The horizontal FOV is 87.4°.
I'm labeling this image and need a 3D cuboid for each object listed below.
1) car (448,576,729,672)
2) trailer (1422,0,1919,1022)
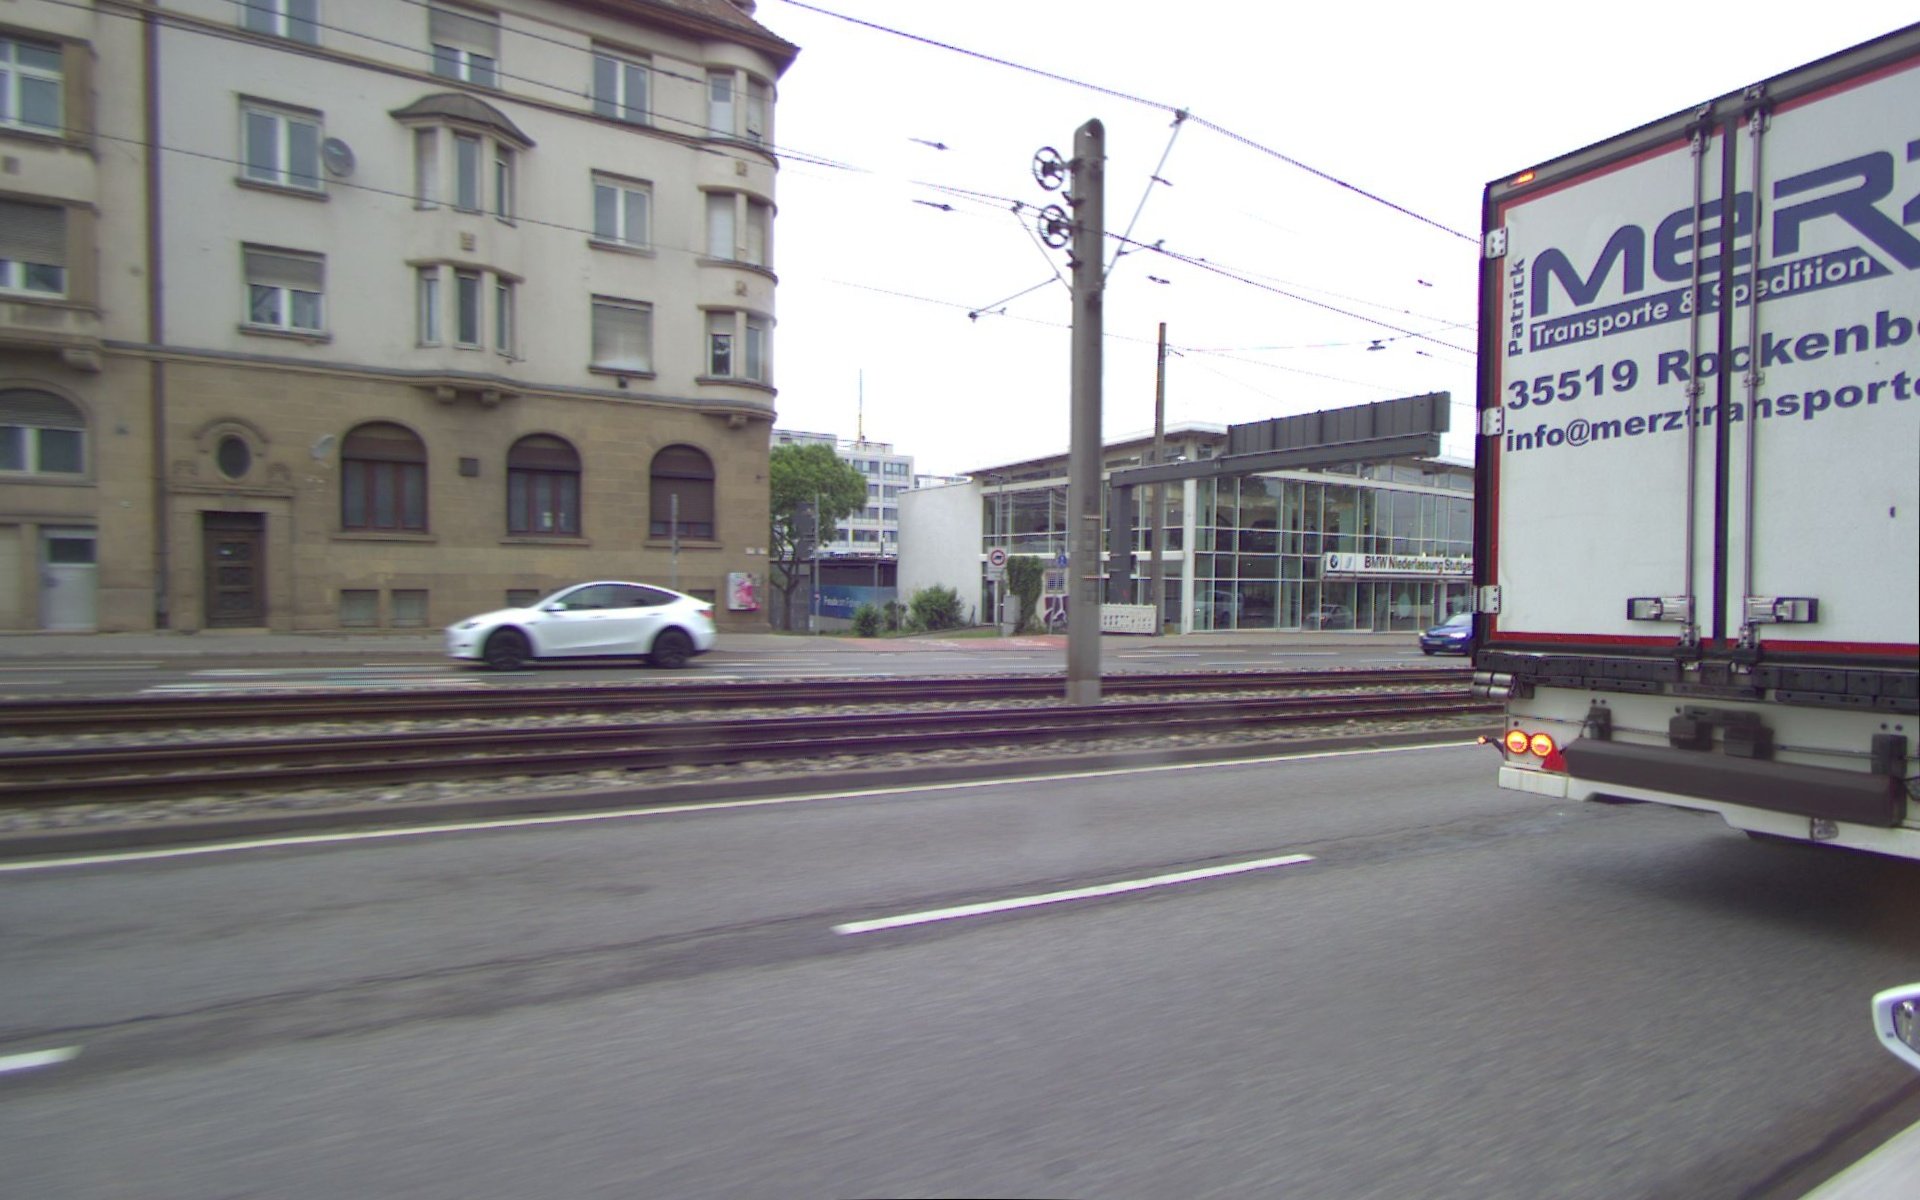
[{"bbox_3d":[-6.877,0.462,18.778,4.689,1.613,1.712,1,-1,-31],"label":"car"},{"bbox_3d":[9.065,-0.343,8.147,13.029,4.309,2.749,1,-1,-31],"label":"trailer"}]
